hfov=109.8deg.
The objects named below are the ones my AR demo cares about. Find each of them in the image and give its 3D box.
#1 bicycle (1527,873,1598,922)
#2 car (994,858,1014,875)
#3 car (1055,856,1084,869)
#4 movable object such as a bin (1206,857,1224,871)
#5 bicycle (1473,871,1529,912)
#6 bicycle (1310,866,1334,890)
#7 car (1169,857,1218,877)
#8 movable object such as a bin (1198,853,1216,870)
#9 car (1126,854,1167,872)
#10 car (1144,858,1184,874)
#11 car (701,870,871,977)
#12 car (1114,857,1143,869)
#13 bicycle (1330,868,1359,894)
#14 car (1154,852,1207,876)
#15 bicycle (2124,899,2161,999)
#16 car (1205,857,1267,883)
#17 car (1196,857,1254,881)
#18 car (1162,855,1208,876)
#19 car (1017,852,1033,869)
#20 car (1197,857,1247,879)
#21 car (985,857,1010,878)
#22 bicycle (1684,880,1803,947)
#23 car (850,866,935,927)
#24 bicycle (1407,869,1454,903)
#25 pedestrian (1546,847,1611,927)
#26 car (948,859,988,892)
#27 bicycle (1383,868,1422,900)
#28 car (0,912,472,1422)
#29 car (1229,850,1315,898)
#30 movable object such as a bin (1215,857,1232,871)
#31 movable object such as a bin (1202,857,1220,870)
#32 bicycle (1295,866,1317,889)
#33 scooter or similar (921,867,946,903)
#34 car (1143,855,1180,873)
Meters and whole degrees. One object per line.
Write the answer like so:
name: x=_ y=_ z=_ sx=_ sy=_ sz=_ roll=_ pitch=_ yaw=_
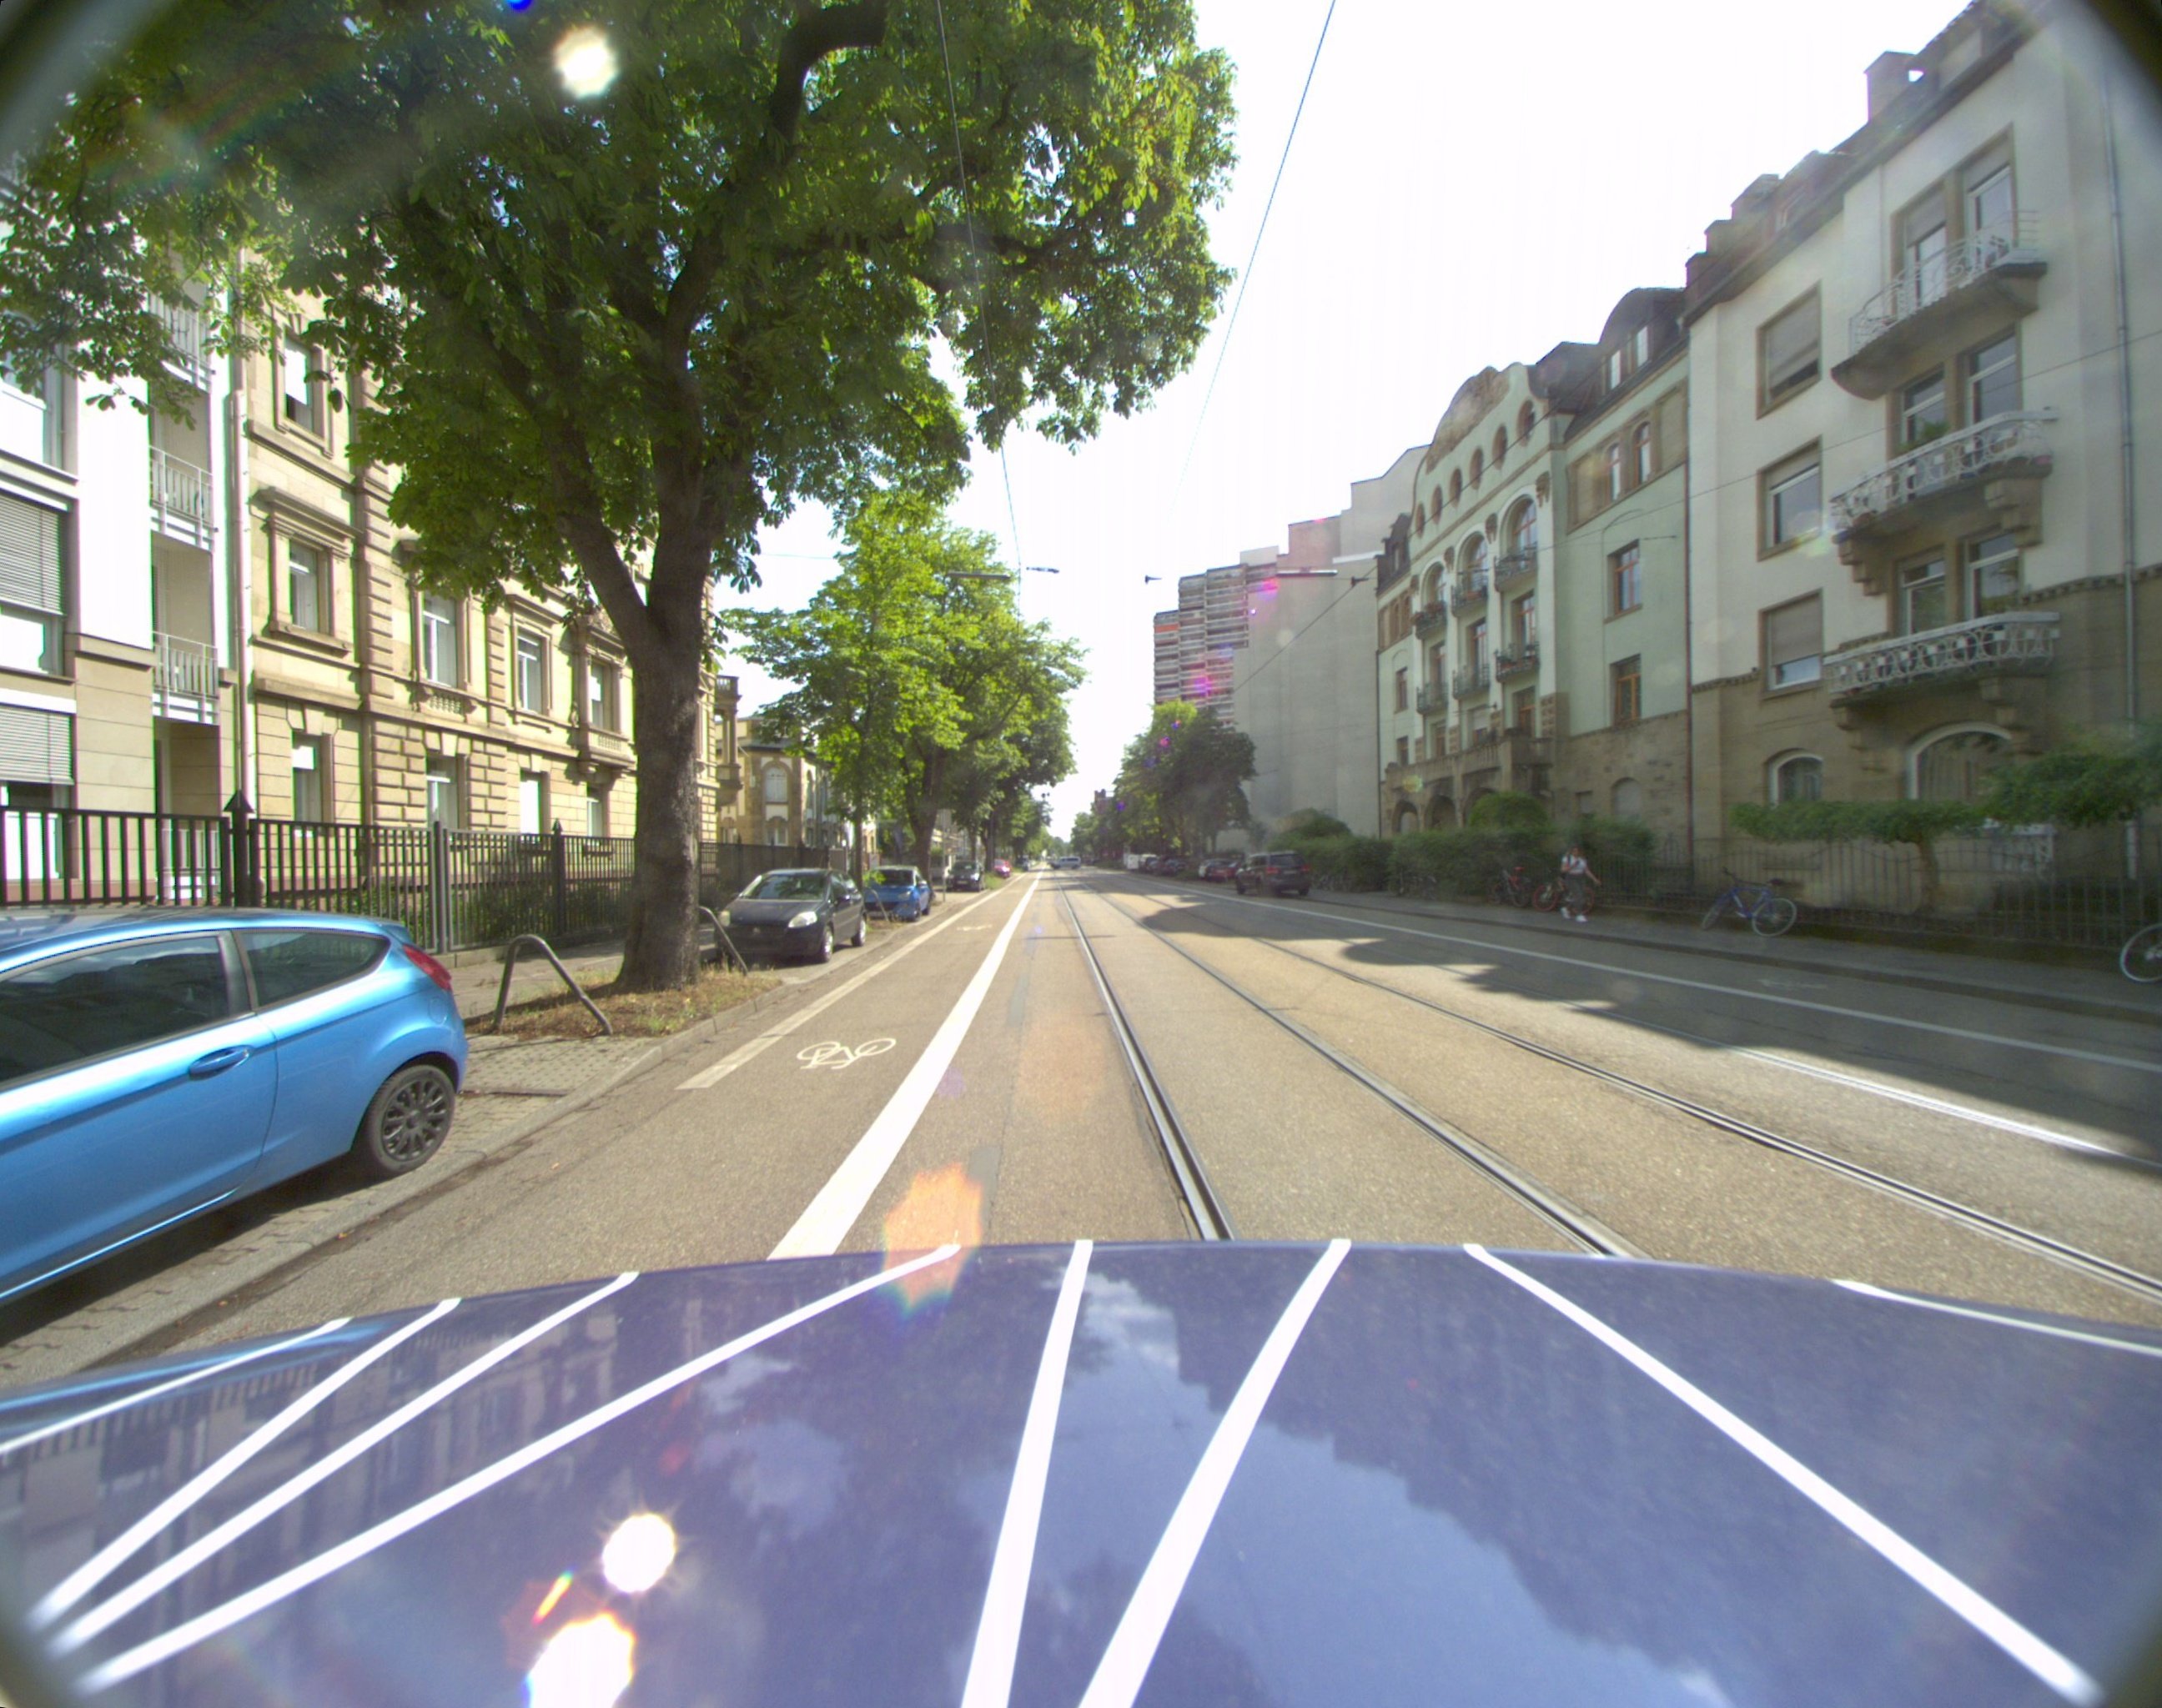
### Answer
bicycle: x=10.657 y=0.936 z=16.898 sx=0.384 sy=0.970 sz=1.801 roll=-3 pitch=0 yaw=-1
car: x=-7.153 y=1.167 z=70.479 sx=1.605 sy=1.420 sz=3.593 roll=2 pitch=0 yaw=-8
car: x=-1.913 y=1.346 z=121.755 sx=4.237 sy=1.840 sz=1.891 roll=-4 pitch=1 yaw=-14
movable object such as a bin: x=13.774 y=1.017 z=78.195 sx=1.391 sy=1.356 sz=1.538 roll=2 pitch=0 yaw=-6
bicycle: x=10.680 y=0.943 z=19.385 sx=0.384 sy=0.953 sz=1.801 roll=-3 pitch=0 yaw=-1
bicycle: x=10.140 y=1.011 z=32.007 sx=0.384 sy=0.953 sz=1.810 roll=-3 pitch=0 yaw=-1
car: x=8.870 y=1.026 z=59.960 sx=4.009 sy=1.475 sz=1.736 roll=2 pitch=0 yaw=-45
movable object such as a bin: x=13.517 y=0.809 z=81.590 sx=1.391 sy=1.771 sz=1.538 roll=2 pitch=0 yaw=-6
car: x=7.431 y=0.956 z=85.480 sx=4.696 sy=1.985 sz=1.963 roll=0 pitch=0 yaw=-44
car: x=8.000 y=1.151 z=72.725 sx=1.755 sy=1.409 sz=4.009 roll=1 pitch=0 yaw=42
car: x=-4.783 y=1.046 z=12.872 sx=1.644 sy=1.487 sz=3.756 roll=1 pitch=0 yaw=-4
car: x=6.243 y=1.169 z=99.381 sx=1.737 sy=1.514 sz=3.893 roll=-1 pitch=0 yaw=41
bicycle: x=10.222 y=1.031 z=29.523 sx=0.384 sy=0.953 sz=1.921 roll=-3 pitch=0 yaw=-1
car: x=8.722 y=0.883 z=66.356 sx=1.911 sy=1.942 sz=5.180 roll=1 pitch=0 yaw=42
bicycle: x=10.986 y=0.975 z=6.942 sx=0.512 sy=0.953 sz=1.815 roll=-4 pitch=2 yaw=4
car: x=9.605 y=0.990 z=46.864 sx=1.841 sy=1.475 sz=3.979 roll=1 pitch=0 yaw=45
car: x=9.485 y=1.001 z=49.926 sx=3.816 sy=1.475 sz=1.693 roll=2 pitch=0 yaw=-42
car: x=8.639 y=0.966 z=63.105 sx=1.736 sy=1.583 sz=4.009 roll=1 pitch=0 yaw=43
car: x=-9.300 y=1.042 z=125.866 sx=2.338 sy=2.545 sz=5.388 roll=-4 pitch=0 yaw=-3
car: x=9.911 y=0.993 z=53.267 sx=1.692 sy=1.475 sz=3.816 roll=1 pitch=0 yaw=42
car: x=-6.850 y=1.092 z=62.599 sx=1.881 sy=1.666 sz=4.280 roll=1 pitch=0 yaw=-5
bicycle: x=10.834 y=0.939 z=12.502 sx=0.427 sy=0.953 sz=1.705 roll=-3 pitch=0 yaw=-1
car: x=-5.092 y=1.103 z=20.928 sx=1.644 sy=1.487 sz=3.625 roll=1 pitch=0 yaw=-4
bicycle: x=10.450 y=0.942 z=22.755 sx=0.452 sy=0.953 sz=1.800 roll=-3 pitch=0 yaw=-3
pedestrian: x=10.105 y=0.658 z=15.467 sx=0.681 sy=1.559 sz=0.882 roll=-3 pitch=1 yaw=0
car: x=-5.861 y=1.094 z=39.915 sx=1.701 sy=1.581 sz=4.201 roll=1 pitch=0 yaw=-4
bicycle: x=10.469 y=0.964 z=24.789 sx=0.384 sy=0.953 sz=1.921 roll=-3 pitch=0 yaw=-1
car: x=-4.323 y=1.090 z=2.507 sx=1.628 sy=1.487 sz=3.846 roll=1 pitch=0 yaw=-3
car: x=7.462 y=0.750 z=30.192 sx=1.790 sy=1.752 sz=4.881 roll=-1 pitch=0 yaw=-5
movable object such as a bin: x=13.729 y=0.970 z=73.212 sx=1.171 sy=1.276 sz=1.441 roll=2 pitch=0 yaw=-4
movable object such as a bin: x=13.638 y=0.988 z=79.846 sx=1.391 sy=1.356 sz=1.538 roll=2 pitch=0 yaw=-6
bicycle: x=10.076 y=1.036 z=34.098 sx=0.384 sy=0.953 sz=1.810 roll=-3 pitch=0 yaw=-1
scooter or similar: x=-5.470 y=1.147 z=28.127 sx=0.443 sy=1.291 sz=1.179 roll=3 pitch=-2 yaw=-33
car: x=8.042 y=0.990 z=75.863 sx=1.755 sy=1.683 sz=3.724 roll=1 pitch=0 yaw=44
